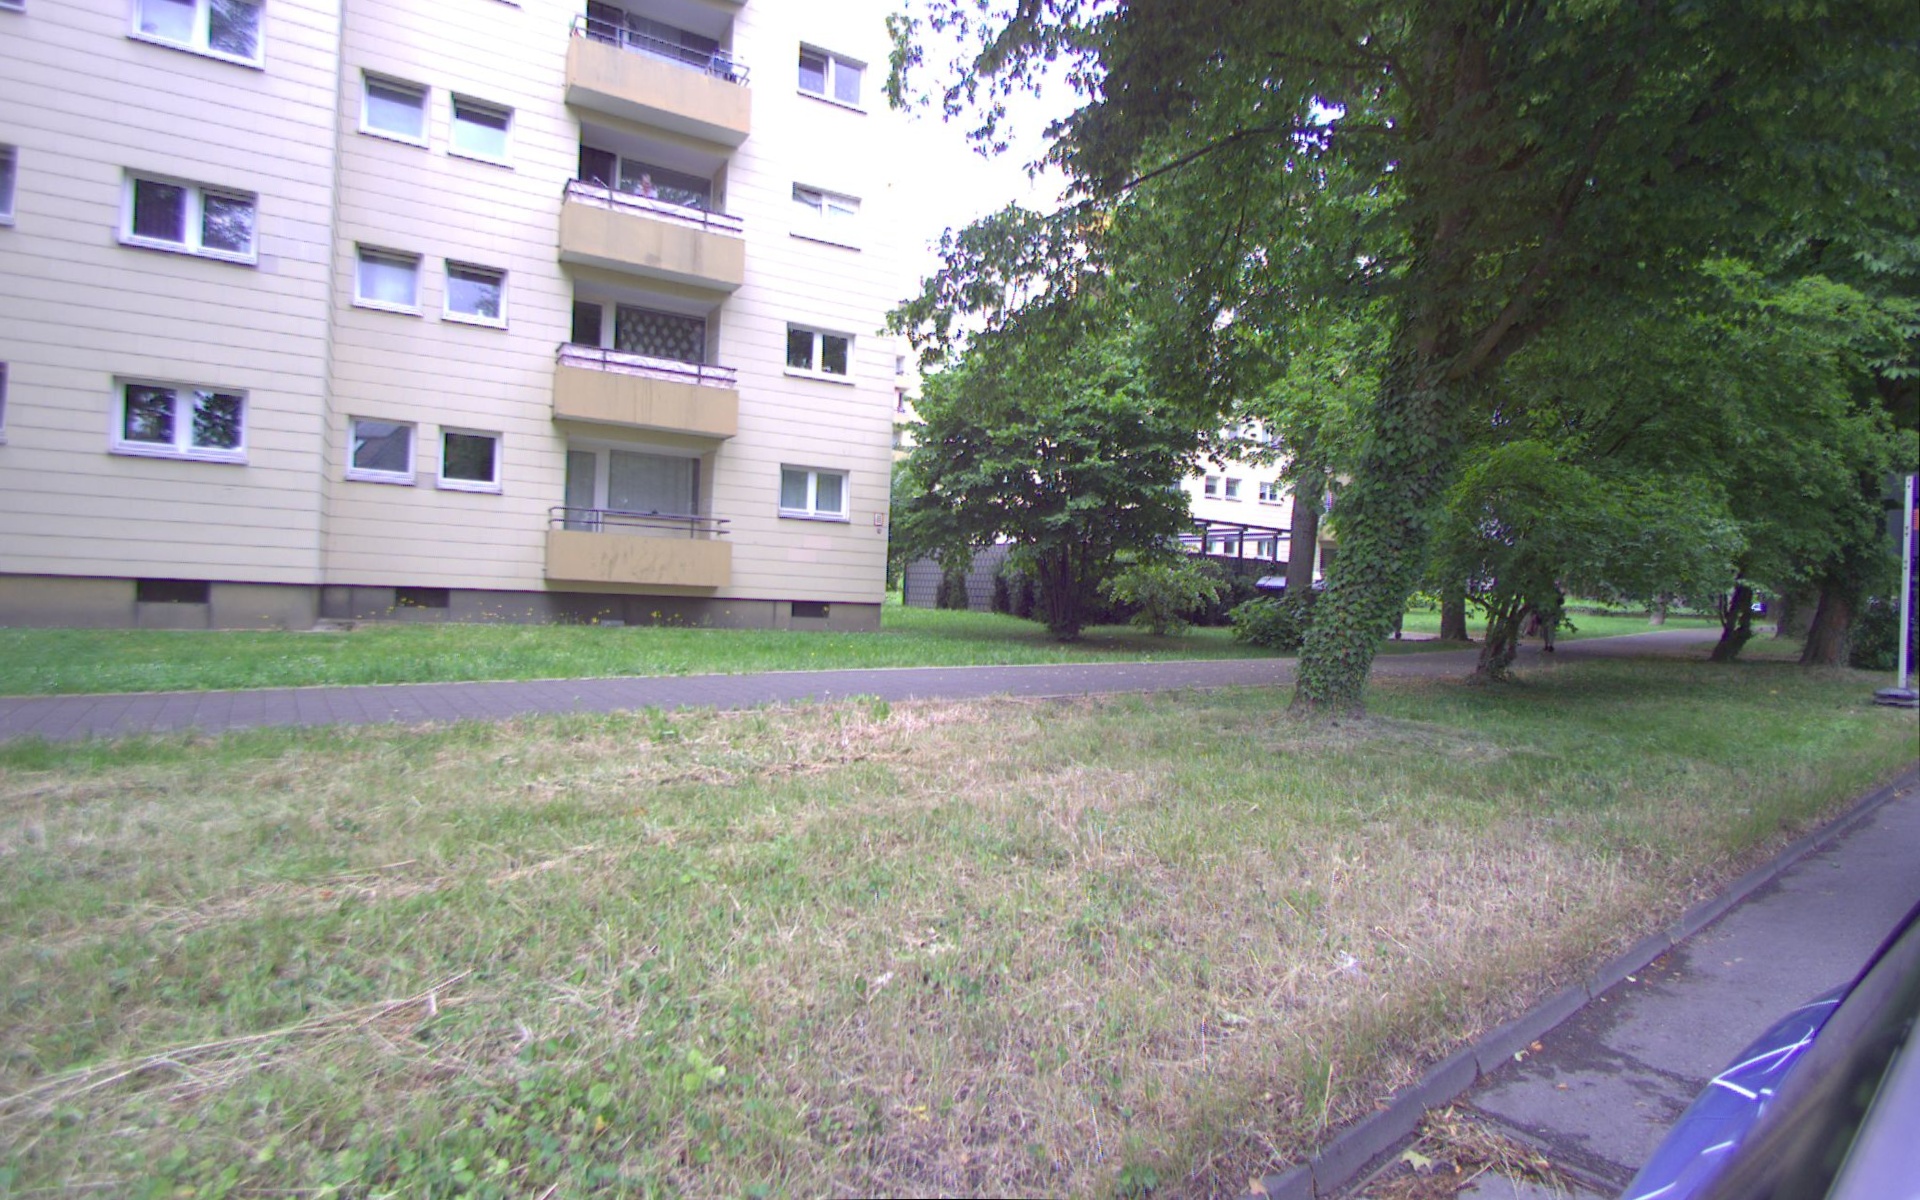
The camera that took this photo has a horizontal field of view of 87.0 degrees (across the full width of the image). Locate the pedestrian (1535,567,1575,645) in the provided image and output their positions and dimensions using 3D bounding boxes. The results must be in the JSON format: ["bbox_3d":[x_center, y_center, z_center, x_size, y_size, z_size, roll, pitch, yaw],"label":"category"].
[{"bbox_3d":[13.739,0.134,23.376,0.560,1.761,0.565,1,2,-41],"label":"pedestrian"}]

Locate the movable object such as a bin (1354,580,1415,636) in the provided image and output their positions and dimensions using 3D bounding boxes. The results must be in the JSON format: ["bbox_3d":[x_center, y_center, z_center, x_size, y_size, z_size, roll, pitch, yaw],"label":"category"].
[{"bbox_3d":[11.356,0.198,27.070,1.190,1.431,1.094,3,2,41],"label":"movable object such as a bin"}]

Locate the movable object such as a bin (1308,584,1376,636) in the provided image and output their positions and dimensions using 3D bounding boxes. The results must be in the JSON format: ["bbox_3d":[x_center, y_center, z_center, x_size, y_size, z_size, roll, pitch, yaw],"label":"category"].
[{"bbox_3d":[9.668,0.237,25.578,1.190,1.236,1.328,3,2,41],"label":"movable object such as a bin"}]

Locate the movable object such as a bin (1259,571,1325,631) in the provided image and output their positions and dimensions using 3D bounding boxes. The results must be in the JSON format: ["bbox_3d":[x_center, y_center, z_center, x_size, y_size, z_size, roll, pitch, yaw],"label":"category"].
[{"bbox_3d":[8.678,0.021,26.450,1.190,1.475,1.328,3,2,41],"label":"movable object such as a bin"}]

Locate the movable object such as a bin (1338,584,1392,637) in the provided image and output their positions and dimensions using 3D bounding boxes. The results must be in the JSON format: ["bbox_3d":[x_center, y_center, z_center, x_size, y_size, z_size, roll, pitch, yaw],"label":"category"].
[{"bbox_3d":[10.555,0.258,26.352,1.022,1.320,0.946,3,2,41],"label":"movable object such as a bin"}]

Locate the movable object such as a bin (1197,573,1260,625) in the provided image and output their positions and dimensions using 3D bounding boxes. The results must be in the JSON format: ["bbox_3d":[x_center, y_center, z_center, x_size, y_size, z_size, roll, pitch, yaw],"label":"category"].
[{"bbox_3d":[7.416,-0.038,27.922,1.190,1.358,1.328,3,2,41],"label":"movable object such as a bin"}]
